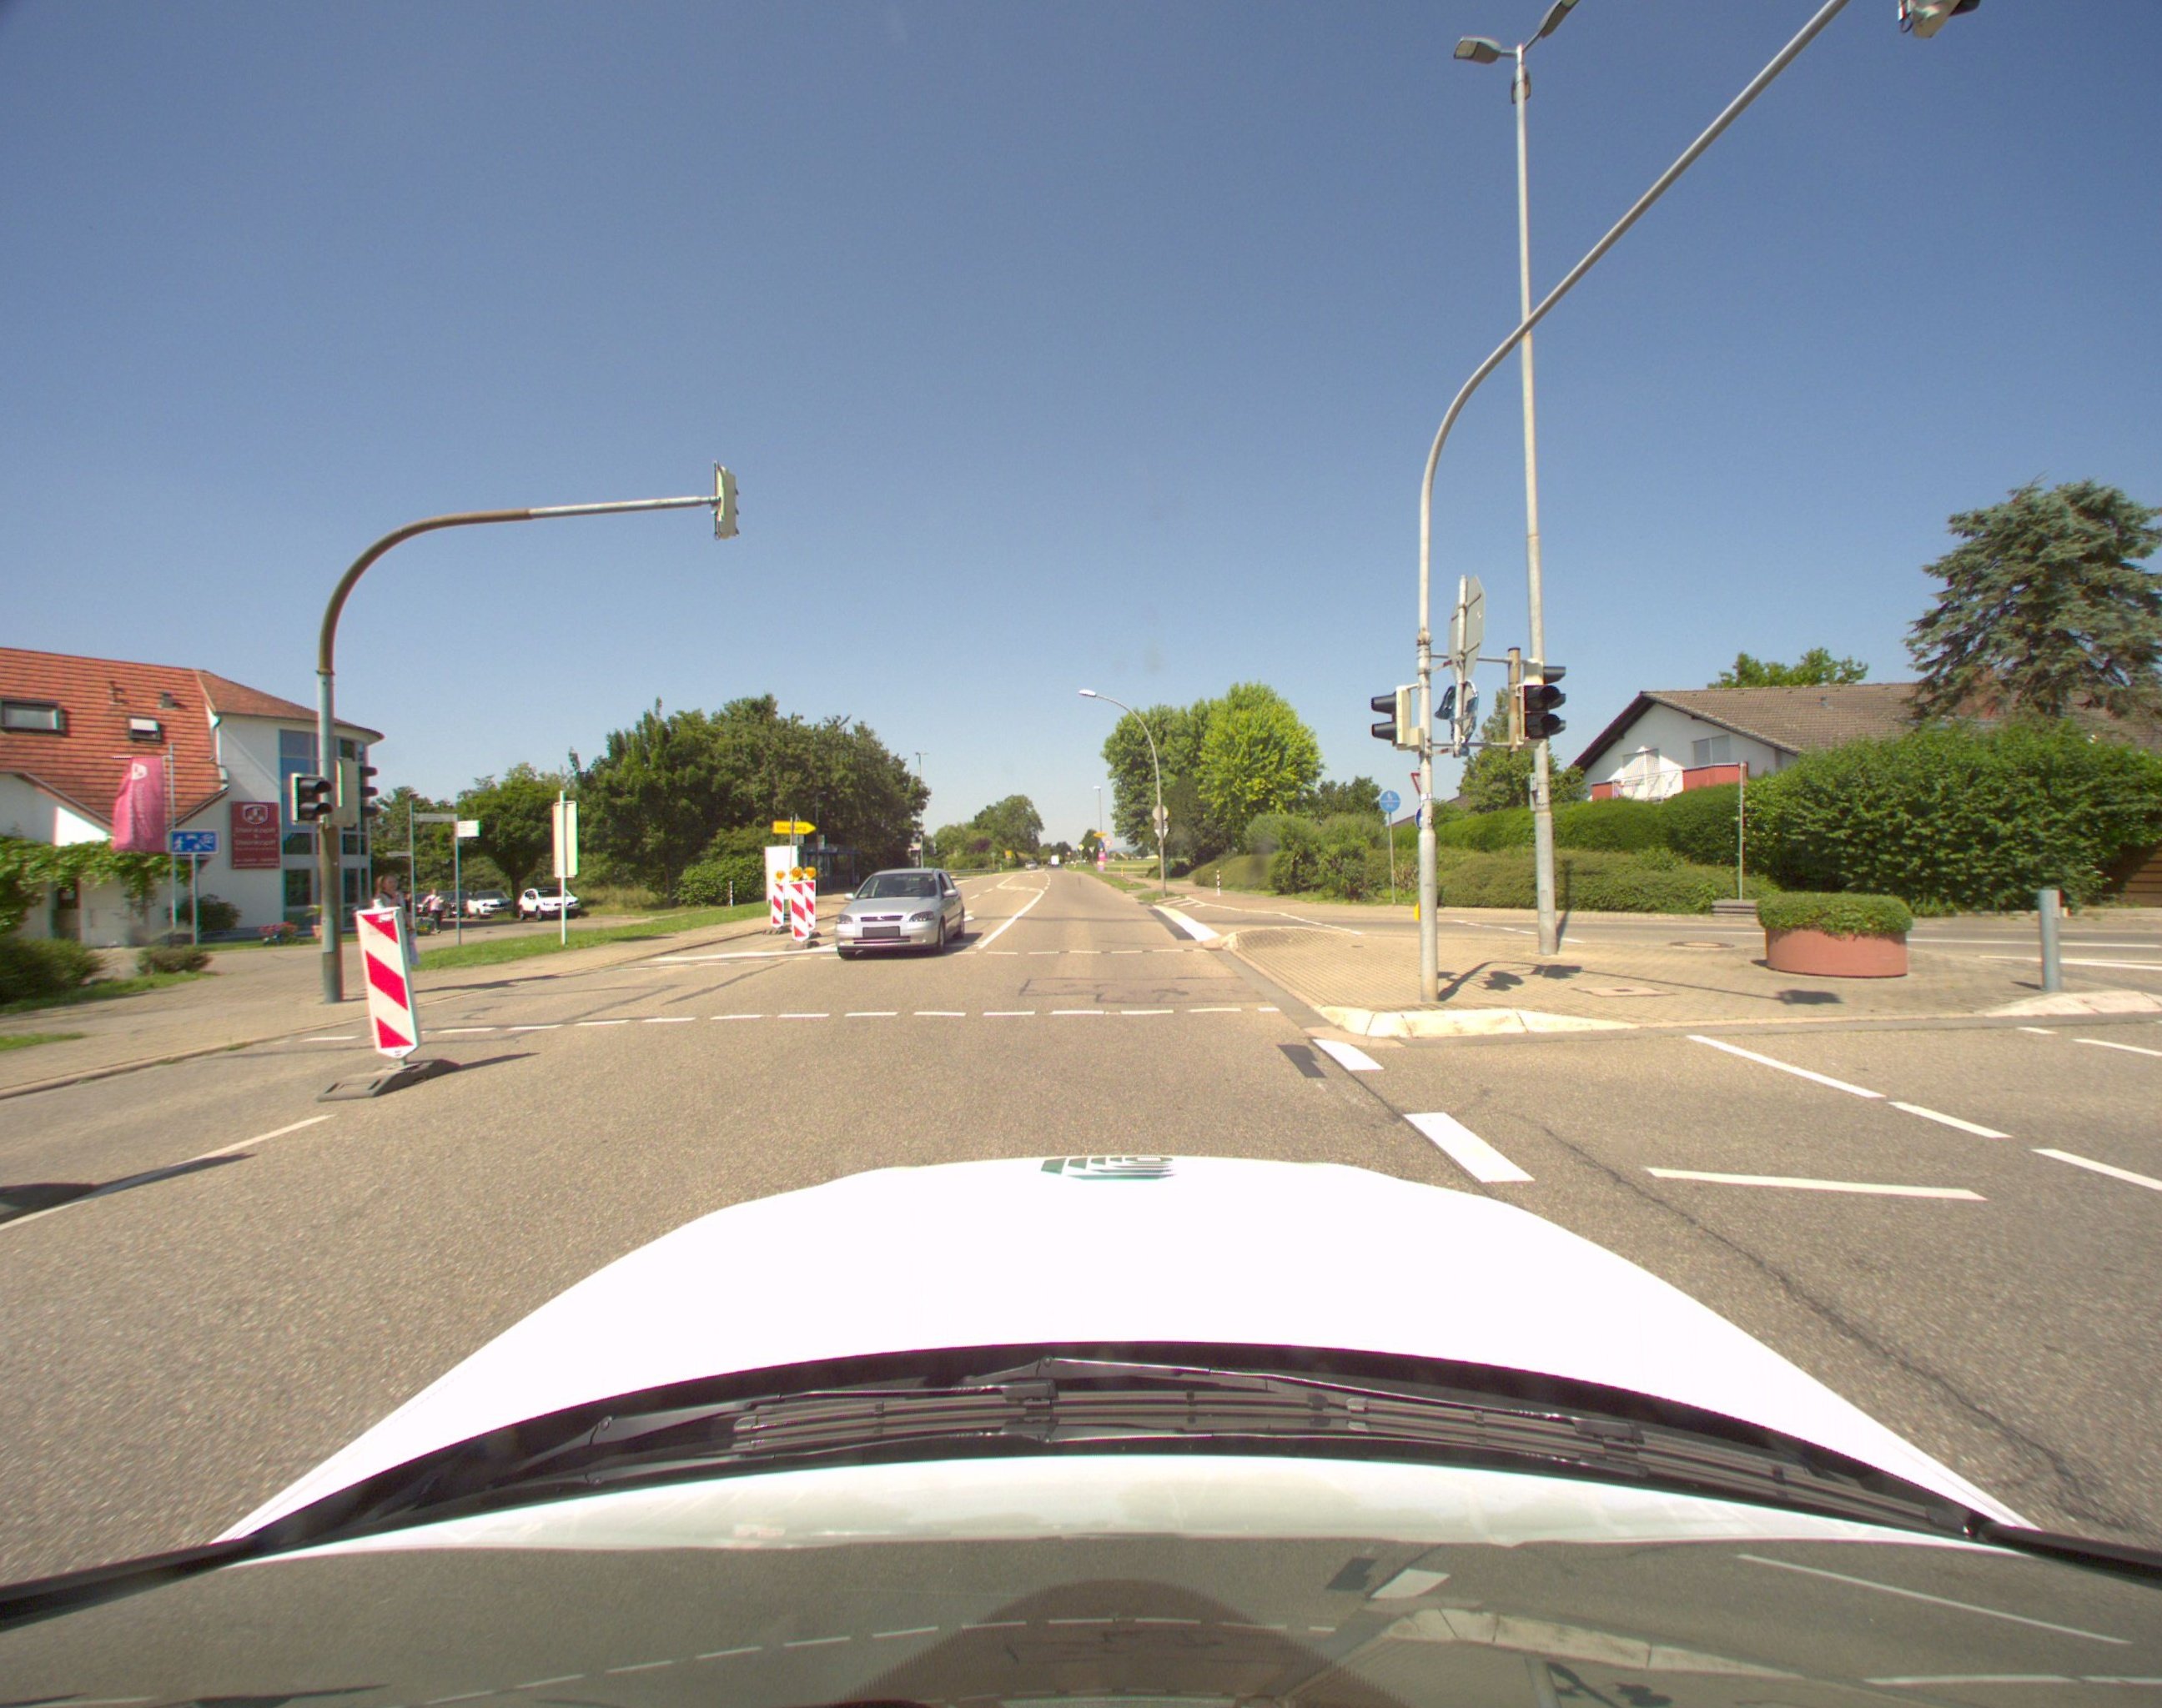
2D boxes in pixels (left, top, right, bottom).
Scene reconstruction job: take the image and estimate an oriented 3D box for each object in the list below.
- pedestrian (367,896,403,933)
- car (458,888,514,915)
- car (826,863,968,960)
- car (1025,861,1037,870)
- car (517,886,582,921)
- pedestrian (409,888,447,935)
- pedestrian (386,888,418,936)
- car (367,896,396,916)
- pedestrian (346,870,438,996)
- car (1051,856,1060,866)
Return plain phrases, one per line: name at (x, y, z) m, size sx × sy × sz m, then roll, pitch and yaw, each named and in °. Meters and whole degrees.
pedestrian at (-30.648, 2.655, 35.864) m, size 0.780 × 1.566 × 0.929 m, roll -3°, pitch 0°, yaw 28°
car at (-33.449, 2.652, 45.775) m, size 3.336 × 1.348 × 1.694 m, roll -2°, pitch -1°, yaw 38°
car at (-3.086, 0.899, 14.435) m, size 1.695 × 1.403 × 3.976 m, roll -2°, pitch 0°, yaw -2°
car at (-8.423, 1.941, 137.472) m, size 1.630 × 1.471 × 4.416 m, roll -2°, pitch 0°, yaw 1°
car at (-26.644, 2.451, 40.805) m, size 3.536 × 1.568 × 1.817 m, roll -2°, pitch -1°, yaw 42°
pedestrian at (-25.173, 2.196, 31.385) m, size 0.948 × 1.740 × 0.820 m, roll -2°, pitch -1°, yaw 30°
pedestrian at (-26.999, 2.301, 32.376) m, size 0.794 × 1.822 × 0.714 m, roll -2°, pitch -1°, yaw 31°
car at (-49.112, 3.650, 57.147) m, size 2.916 × 1.243 × 1.310 m, roll -2°, pitch -1°, yaw 44°
pedestrian at (-9.301, 1.043, 11.022) m, size 0.612 × 1.608 × 0.688 m, roll -2°, pitch -1°, yaw 0°
car at (-6.394, 1.790, 206.518) m, size 1.991 × 2.651 × 3.991 m, roll -2°, pitch 0°, yaw -6°
